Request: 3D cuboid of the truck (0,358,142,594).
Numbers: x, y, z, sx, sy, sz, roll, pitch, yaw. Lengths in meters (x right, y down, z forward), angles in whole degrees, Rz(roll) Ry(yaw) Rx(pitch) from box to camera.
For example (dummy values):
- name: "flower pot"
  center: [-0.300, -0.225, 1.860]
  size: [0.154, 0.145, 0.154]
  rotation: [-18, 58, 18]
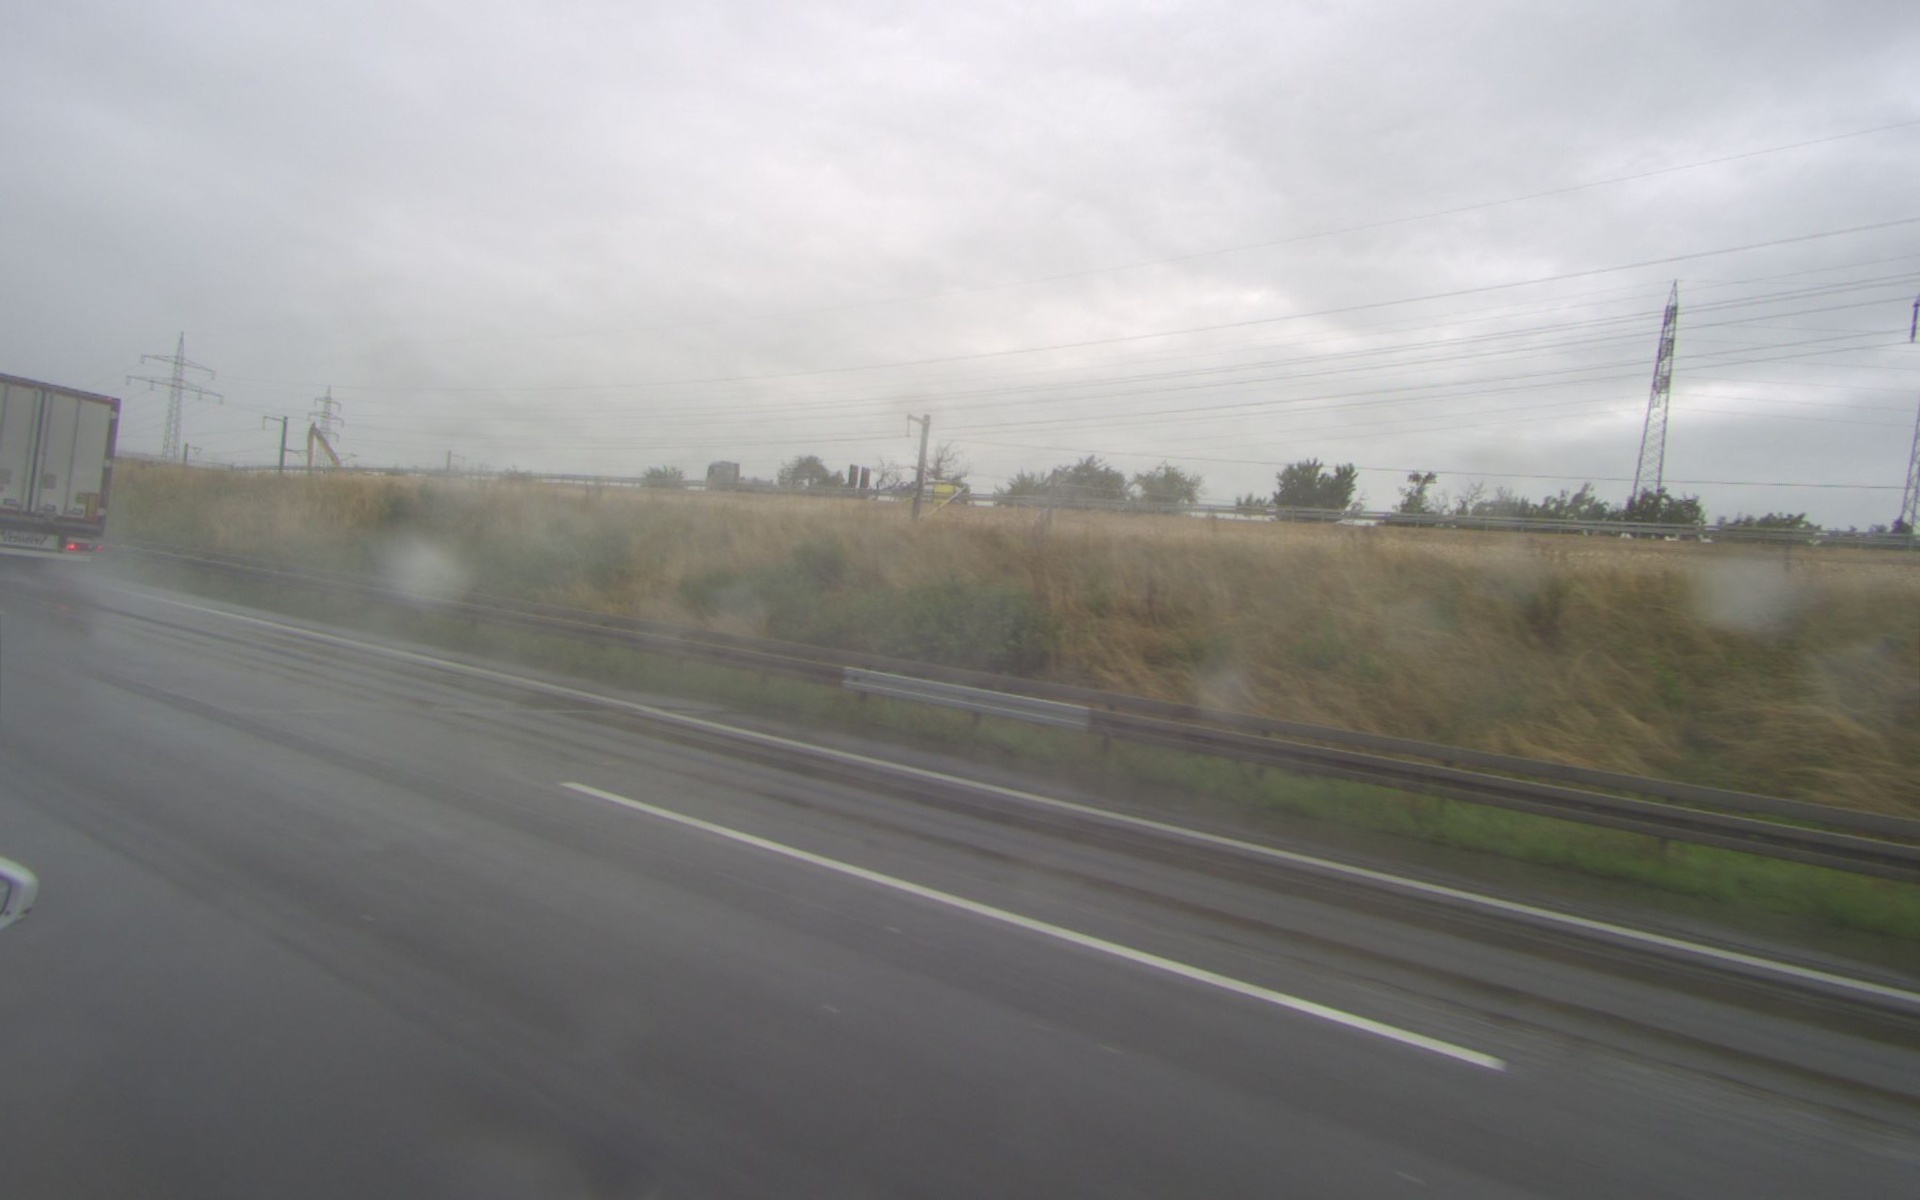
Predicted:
- name: "truck"
  center: [-26.464, -3.402, 25.634]
  size: [16.076, 4.642, 3.046]
  rotation: [7, -1, 31]
